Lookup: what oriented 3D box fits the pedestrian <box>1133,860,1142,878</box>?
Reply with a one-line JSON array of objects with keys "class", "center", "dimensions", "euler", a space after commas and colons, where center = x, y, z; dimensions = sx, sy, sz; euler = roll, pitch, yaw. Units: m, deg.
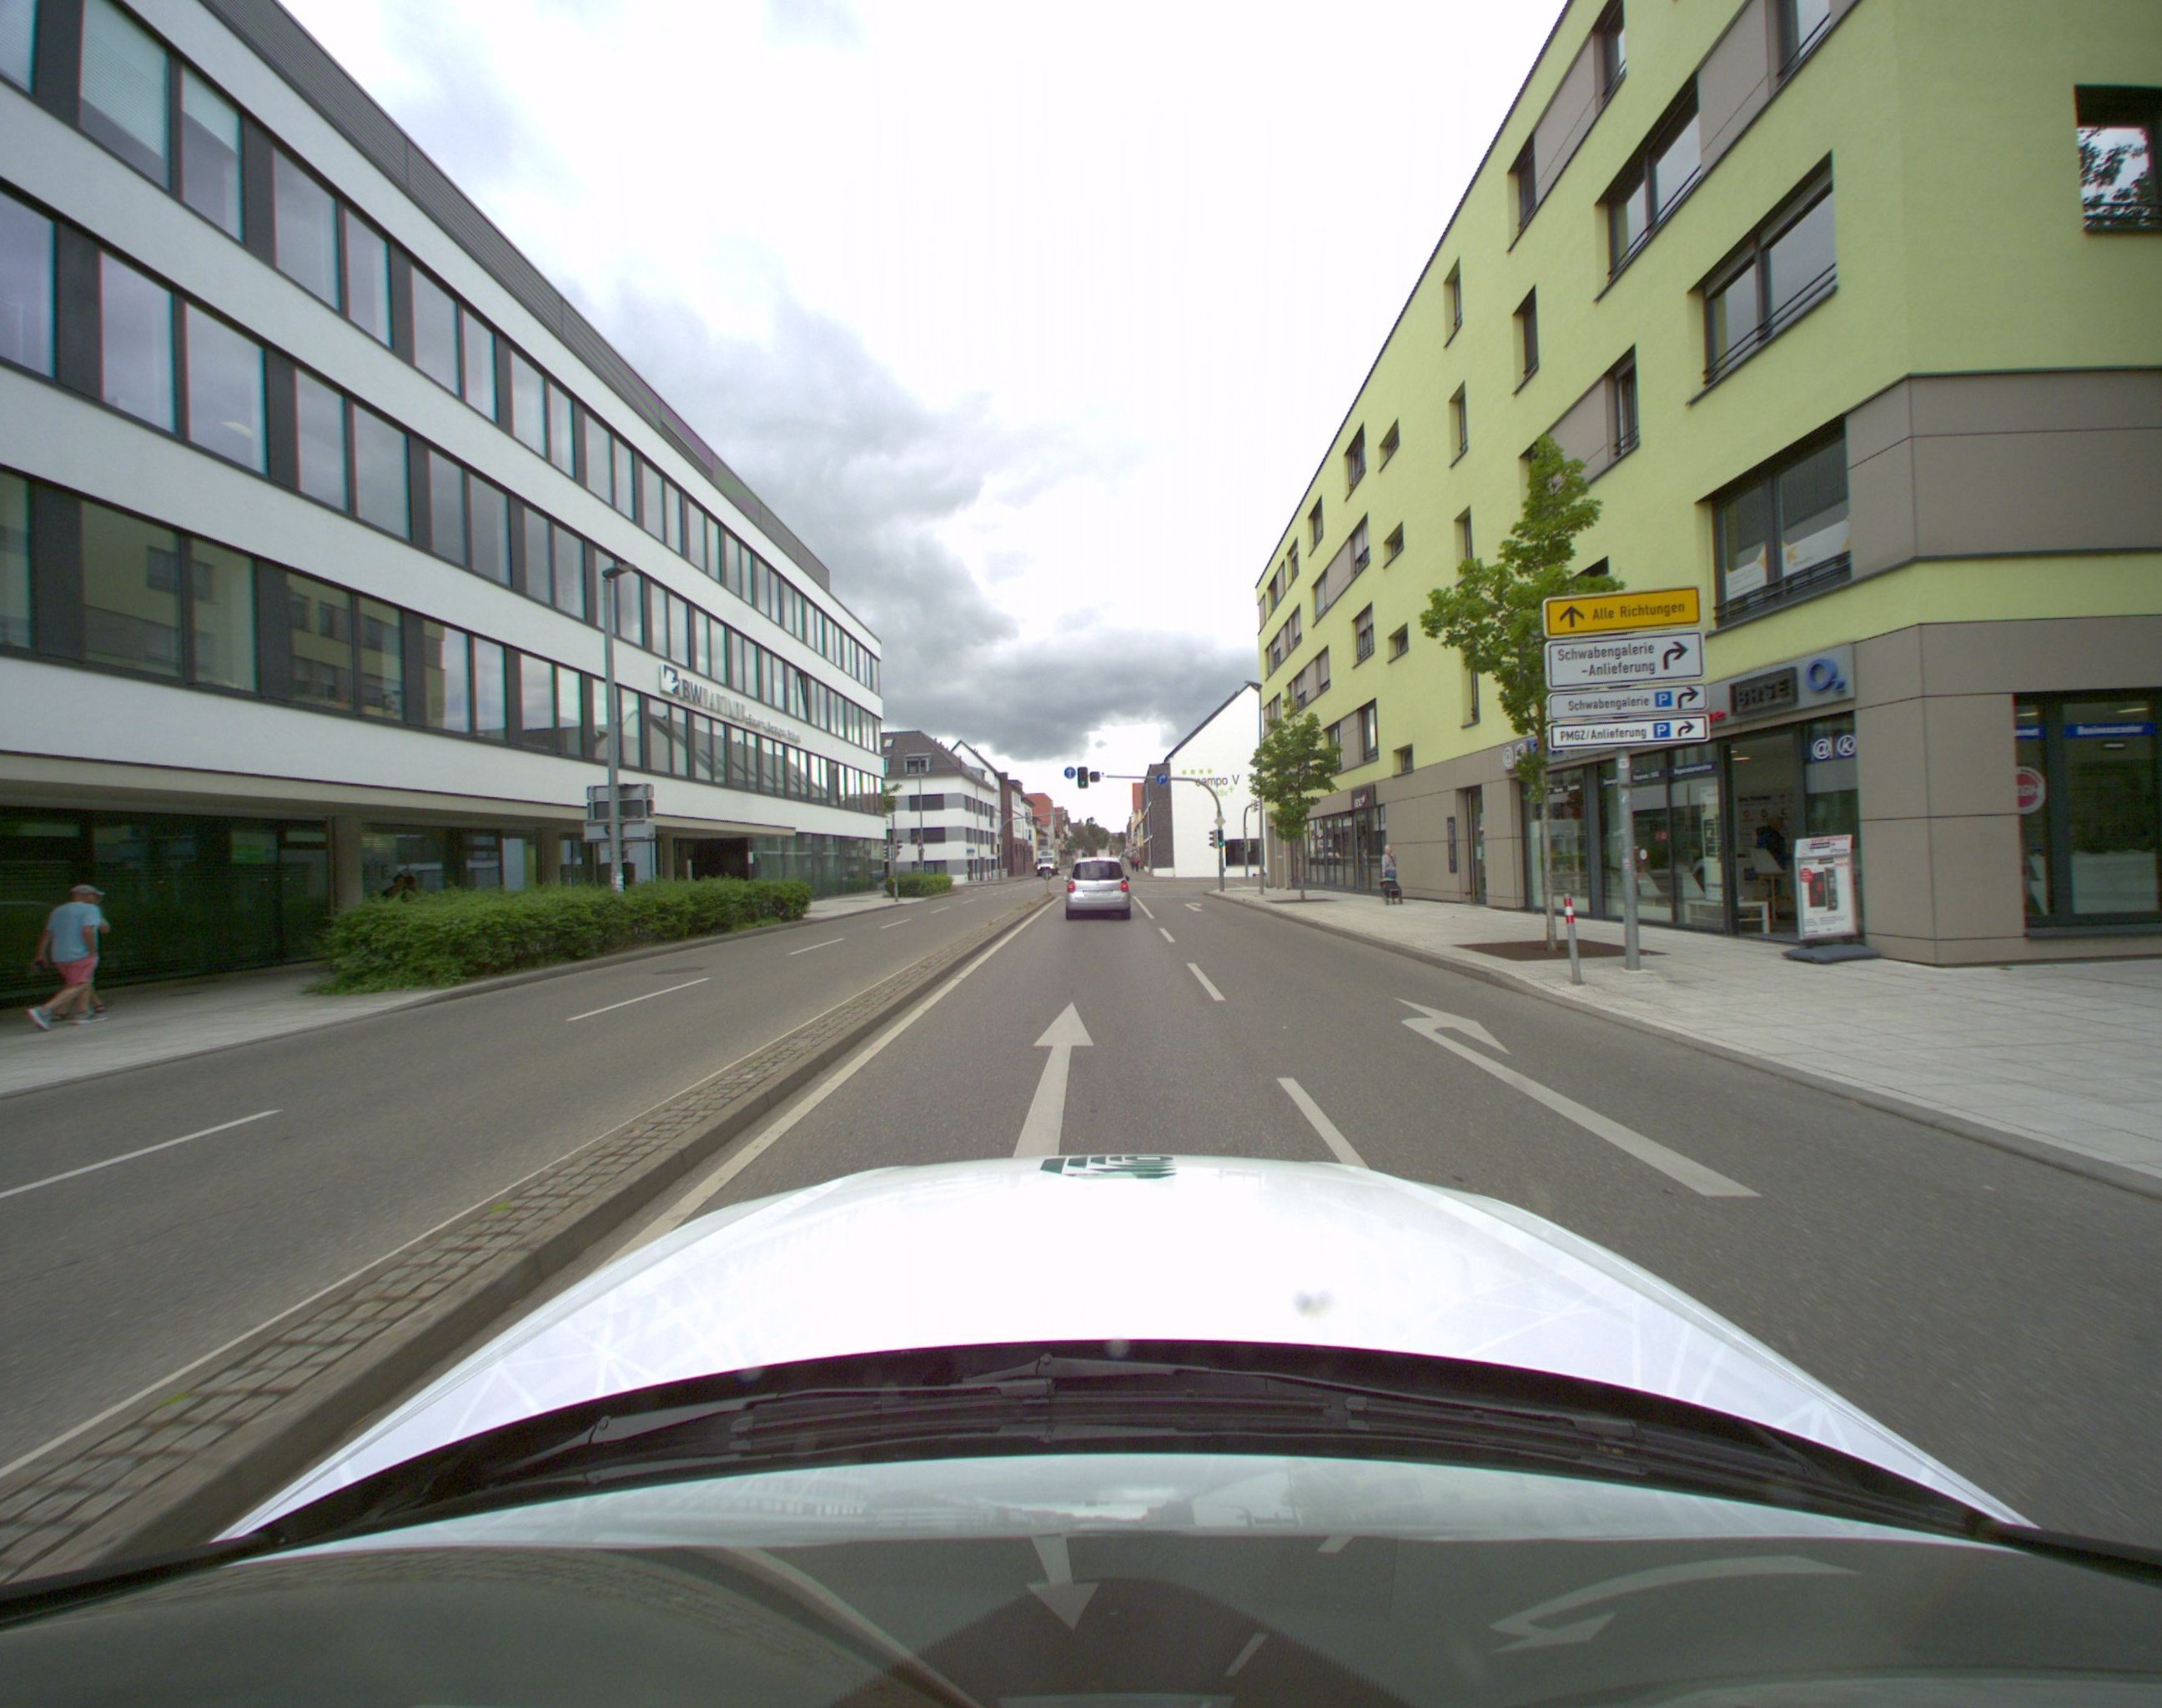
[{"class": "pedestrian", "center": [5.861, 1.559, 84.983], "dimensions": [0.804, 1.787, 0.861], "euler": [-5, -1, 2]}]

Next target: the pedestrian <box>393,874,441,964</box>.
[{"class": "pedestrian", "center": [-13.183, 1.275, 16.178], "dimensions": [0.617, 1.710, 0.501], "euler": [-2, -1, -29]}]

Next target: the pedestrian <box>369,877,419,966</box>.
[{"class": "pedestrian", "center": [-13.997, 1.362, 16.599], "dimensions": [0.500, 1.730, 0.619], "euler": [-3, -1, 33]}]

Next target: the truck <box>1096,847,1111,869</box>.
[{"class": "truck", "center": [4.112, 0.704, 148.130], "dimensions": [2.585, 3.857, 6.852], "euler": [-2, 0, 2]}]

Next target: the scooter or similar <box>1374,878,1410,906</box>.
[{"class": "scooter or similar", "center": [8.154, 0.982, 21.388], "dimensions": [0.590, 0.673, 0.824], "euler": [-3, -1, 1]}]

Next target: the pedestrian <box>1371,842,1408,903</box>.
[{"class": "pedestrian", "center": [8.358, 0.503, 22.108], "dimensions": [0.693, 1.593, 0.603], "euler": [-3, -1, 0]}]

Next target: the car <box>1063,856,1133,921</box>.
[{"class": "car", "center": [0.481, 0.867, 22.065], "dimensions": [1.700, 1.579, 4.001], "euler": [-1, 0, 2]}]

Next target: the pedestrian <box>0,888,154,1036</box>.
[{"class": "pedestrian", "center": [-12.179, 1.273, 9.903], "dimensions": [0.727, 1.674, 0.932], "euler": [-1, -1, 4]}]

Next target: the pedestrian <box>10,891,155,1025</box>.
[{"class": "pedestrian", "center": [-12.923, 1.313, 10.575], "dimensions": [0.727, 1.613, 0.932], "euler": [-1, -1, 4]}]

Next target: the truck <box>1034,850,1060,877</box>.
[{"class": "truck", "center": [-3.890, 1.111, 95.118], "dimensions": [2.426, 2.953, 8.367], "euler": [-2, 0, 2]}]

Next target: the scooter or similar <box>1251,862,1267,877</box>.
[{"class": "scooter or similar", "center": [14.798, 1.293, 67.708], "dimensions": [1.225, 1.235, 0.407], "euler": [-1, -1, 2]}]

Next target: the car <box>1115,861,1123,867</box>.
[{"class": "car", "center": [9.063, 2.324, 195.092], "dimensions": [1.805, 1.354, 4.002], "euler": [-3, 0, 2]}]

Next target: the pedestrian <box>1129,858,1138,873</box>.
[{"class": "pedestrian", "center": [6.191, 1.349, 95.927], "dimensions": [0.886, 1.787, 0.785], "euler": [-5, -1, 2]}]
